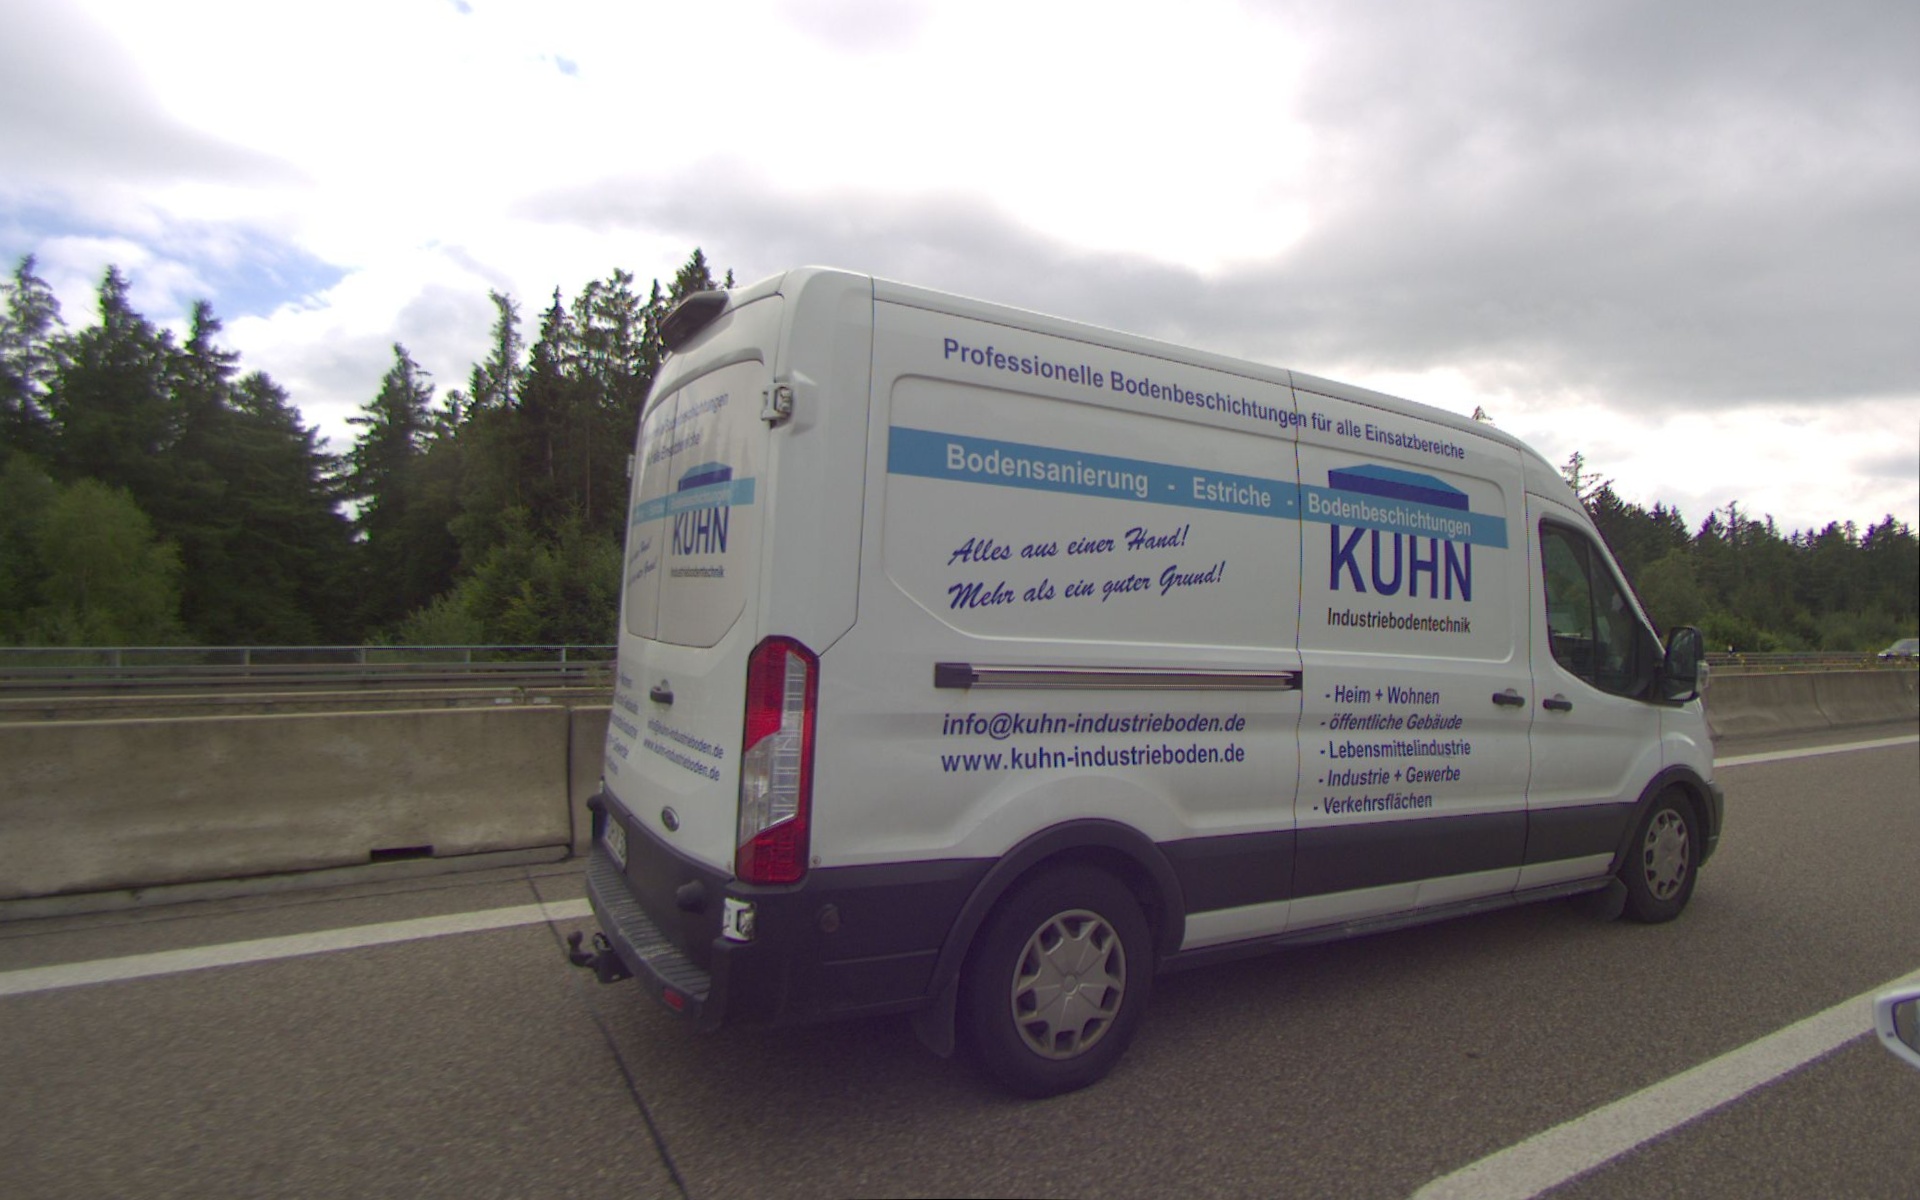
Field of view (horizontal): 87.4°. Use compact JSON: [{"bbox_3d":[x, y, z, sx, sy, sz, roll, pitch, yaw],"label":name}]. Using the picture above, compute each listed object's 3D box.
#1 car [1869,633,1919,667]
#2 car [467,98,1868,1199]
[{"bbox_3d":[47.863,2.495,50.278,5.138,1.612,2.113,2,-1,-31],"label":"car"},{"bbox_3d":[1.626,0.284,4.853,7.049,2.540,2.127,1,-1,-31],"label":"car"}]
